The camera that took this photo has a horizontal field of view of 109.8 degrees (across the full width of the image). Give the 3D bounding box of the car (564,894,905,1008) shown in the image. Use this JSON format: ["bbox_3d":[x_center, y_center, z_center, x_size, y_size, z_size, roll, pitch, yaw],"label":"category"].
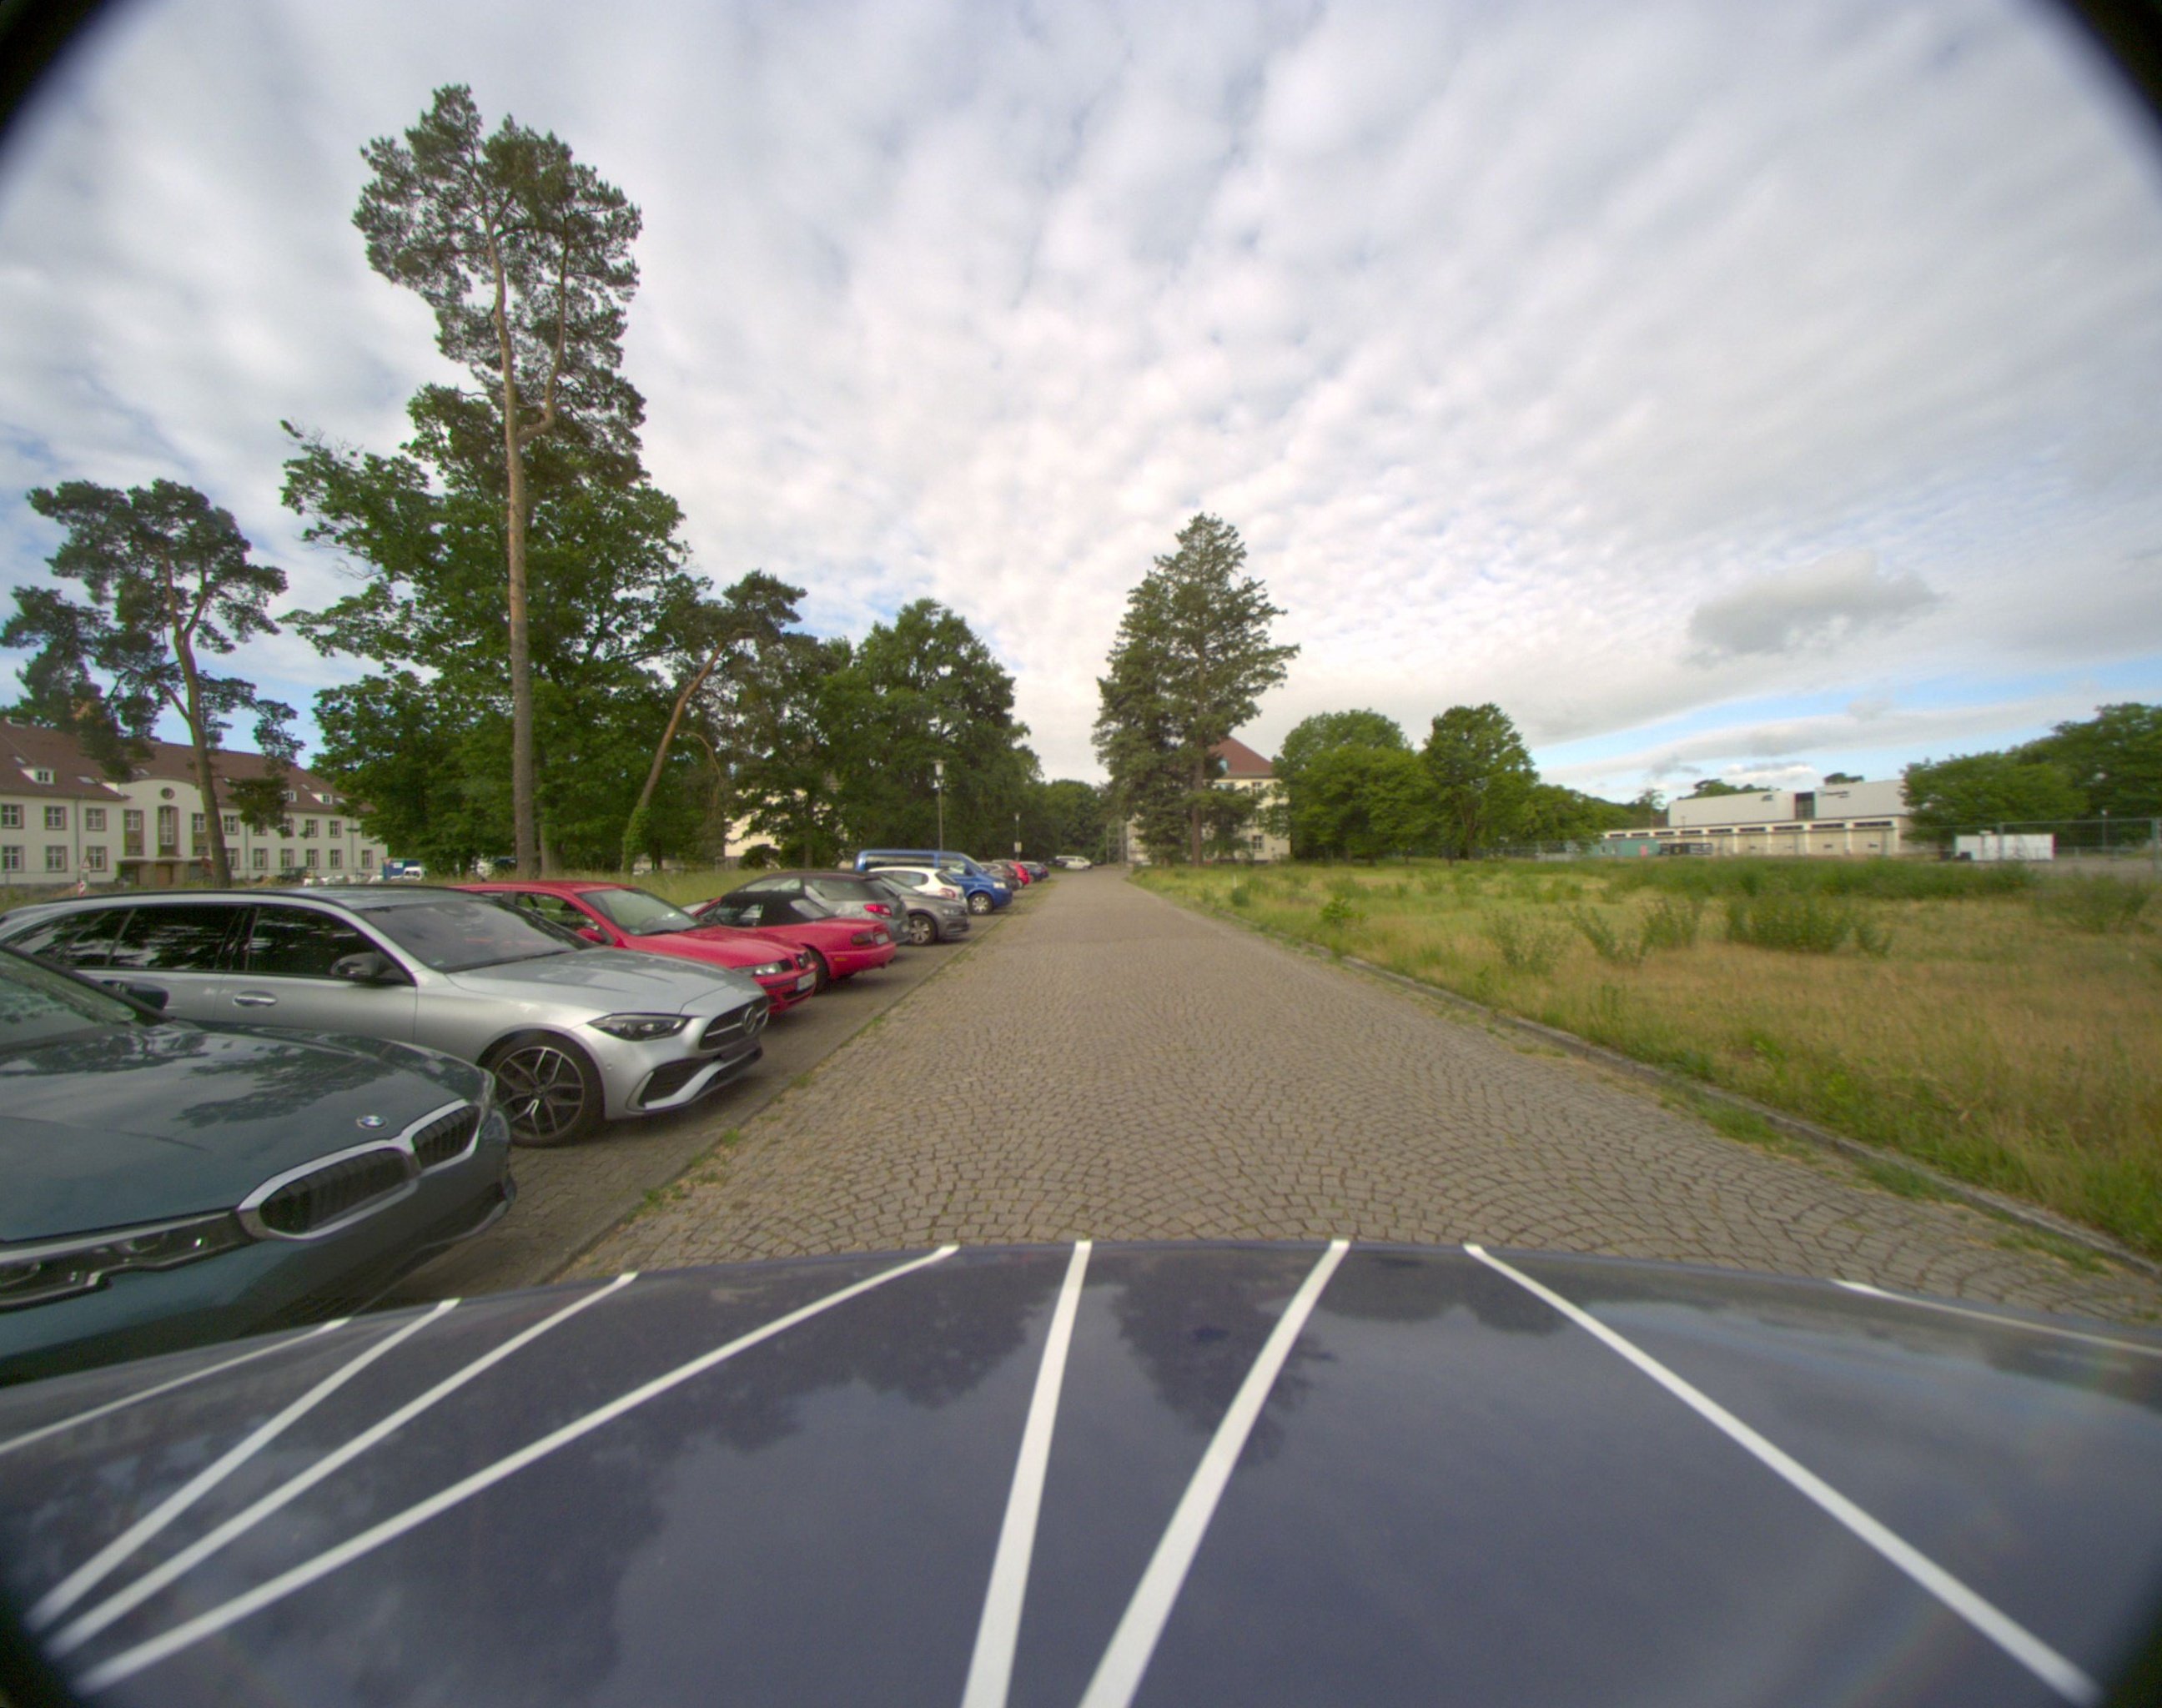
[{"bbox_3d":[-4.216,1.178,9.597,3.600,1.200,1.495,-1,0,1],"label":"car"}]

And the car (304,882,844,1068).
[{"bbox_3d":[-4.580,1.058,7.341,3.972,1.443,1.800,-1,0,0],"label":"car"}]

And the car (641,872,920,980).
[{"bbox_3d":[-4.691,1.098,12.316,3.787,1.497,1.799,-1,0,-2],"label":"car"}]

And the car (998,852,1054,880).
[{"bbox_3d":[-4.149,0.862,57.370,3.996,2.002,2.000,-1,0,1],"label":"car"}]

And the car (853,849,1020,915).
[{"bbox_3d":[-4.340,0.828,23.451,4.749,1.927,2.000,0,0,0],"label":"car"}]

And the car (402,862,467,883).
[{"bbox_3d":[-68.017,1.956,80.092,2.153,2.002,5.225,-1,0,3],"label":"car"}]

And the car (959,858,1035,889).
[{"bbox_3d":[-4.681,1.101,42.725,3.997,1.521,2.000,-3,0,0],"label":"car"}]

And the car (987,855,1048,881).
[{"bbox_3d":[-4.409,0.964,52.973,4.007,1.752,2.000,-1,0,1],"label":"car"}]

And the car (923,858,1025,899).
[{"bbox_3d":[-4.496,1.031,32.393,3.997,1.601,2.000,-1,0,0],"label":"car"}]

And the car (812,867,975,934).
[{"bbox_3d":[-4.369,1.066,18.028,3.408,1.443,1.637,-1,0,1],"label":"car"}]

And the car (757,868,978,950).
[{"bbox_3d":[-4.150,1.061,15.203,3.848,1.448,1.820,-1,0,3],"label":"car"}]

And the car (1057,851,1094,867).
[{"bbox_3d":[-0.689,0.680,106.235,5.031,2.164,2.000,-1,0,2],"label":"car"}]

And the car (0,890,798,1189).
[{"bbox_3d":[-4.612,1.059,5.025,4.769,1.474,1.812,-1,0,0],"label":"car"}]

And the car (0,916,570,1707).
[{"bbox_3d":[-4.560,1.047,2.266,4.770,1.474,1.761,-1,0,-3],"label":"car"}]
